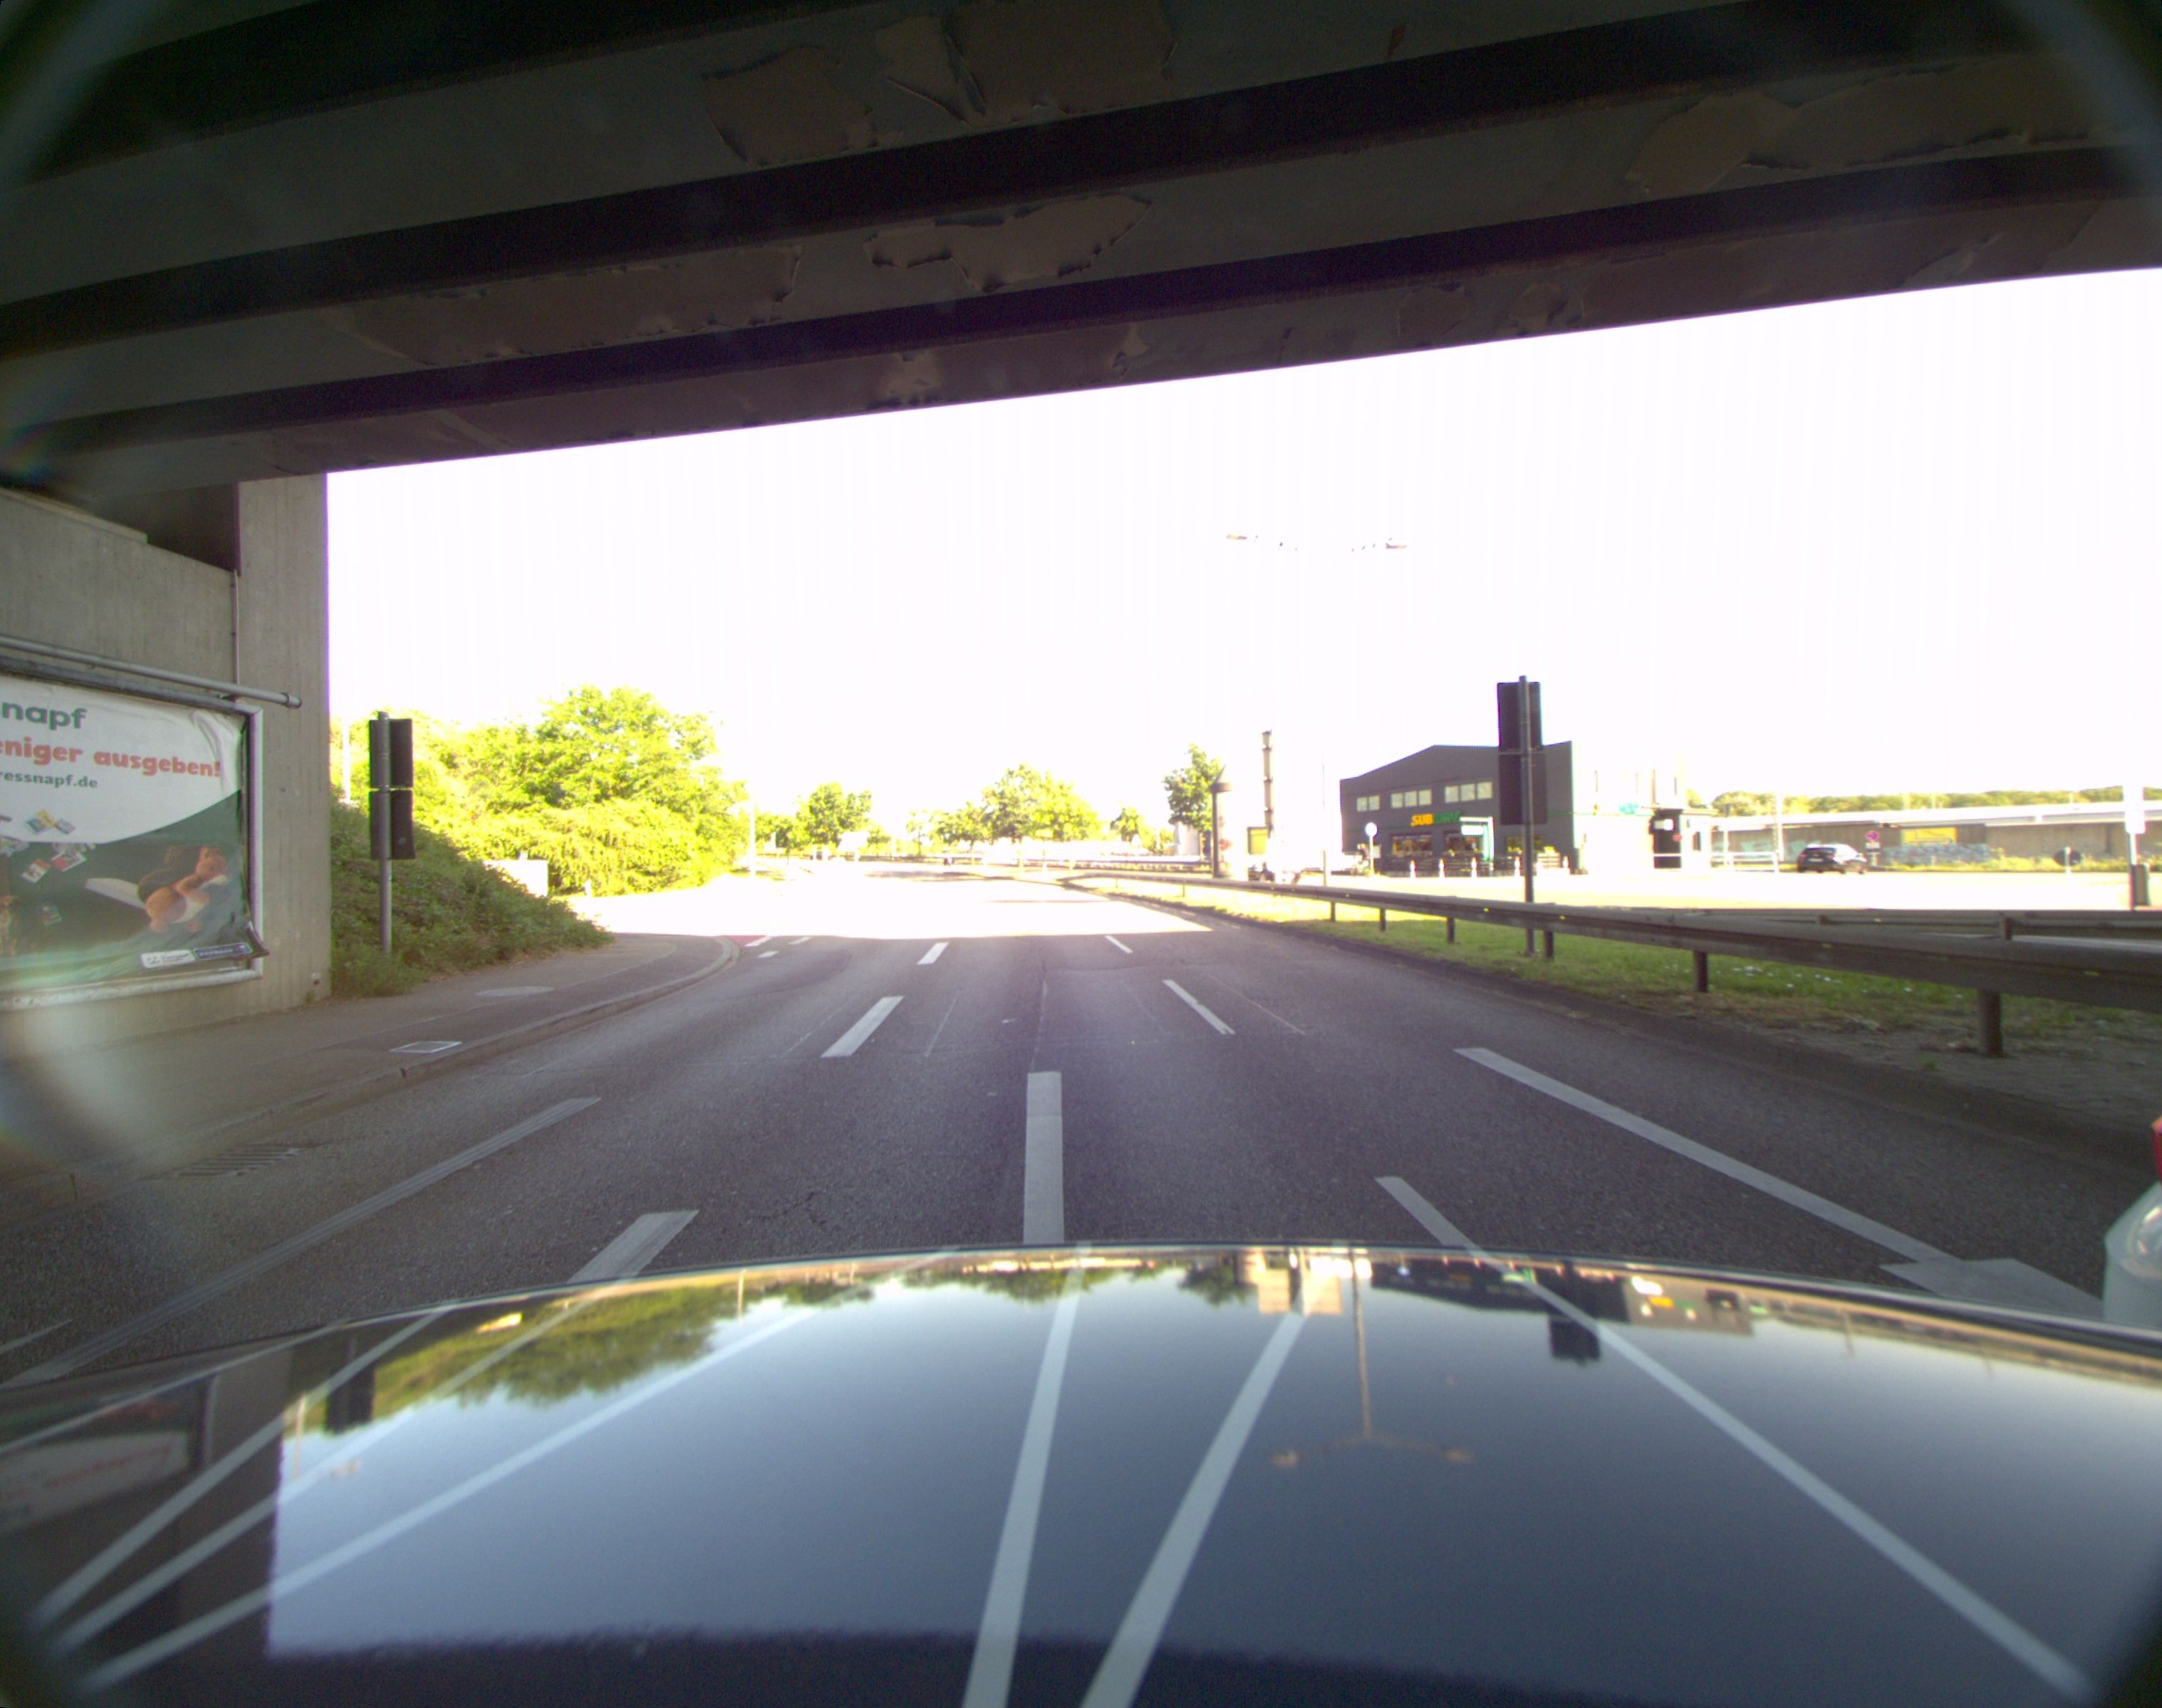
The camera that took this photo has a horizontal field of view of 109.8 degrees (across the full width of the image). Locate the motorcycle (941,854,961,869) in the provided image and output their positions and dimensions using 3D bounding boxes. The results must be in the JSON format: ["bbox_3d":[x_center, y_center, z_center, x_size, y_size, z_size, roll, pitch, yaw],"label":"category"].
[{"bbox_3d":[-15.290,0.889,89.473,1.110,1.651,3.147,-3,1,-33],"label":"motorcycle"}]

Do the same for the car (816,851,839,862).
[{"bbox_3d":[-41.339,0.353,123.990,1.835,1.727,4.516,1,0,-42],"label":"car"}]

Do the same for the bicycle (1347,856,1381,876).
[{"bbox_3d":[15.271,0.643,41.073,0.594,1.017,1.746,-3,1,-28],"label":"bicycle"}]

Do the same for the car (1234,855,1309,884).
[{"bbox_3d":[8.996,0.710,36.257,1.748,1.274,4.177,1,0,-13],"label":"car"}]

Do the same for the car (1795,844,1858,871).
[{"bbox_3d":[38.299,0.185,39.008,4.191,1.274,1.825,1,0,-39],"label":"car"}]

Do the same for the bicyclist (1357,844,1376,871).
[{"bbox_3d":[15.364,0.176,40.941,0.594,1.419,0.707,-3,1,-28],"label":"bicyclist"}]

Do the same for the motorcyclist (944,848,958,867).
[{"bbox_3d":[-15.270,0.428,89.389,1.110,2.228,1.180,-3,1,-33],"label":"motorcyclist"}]
